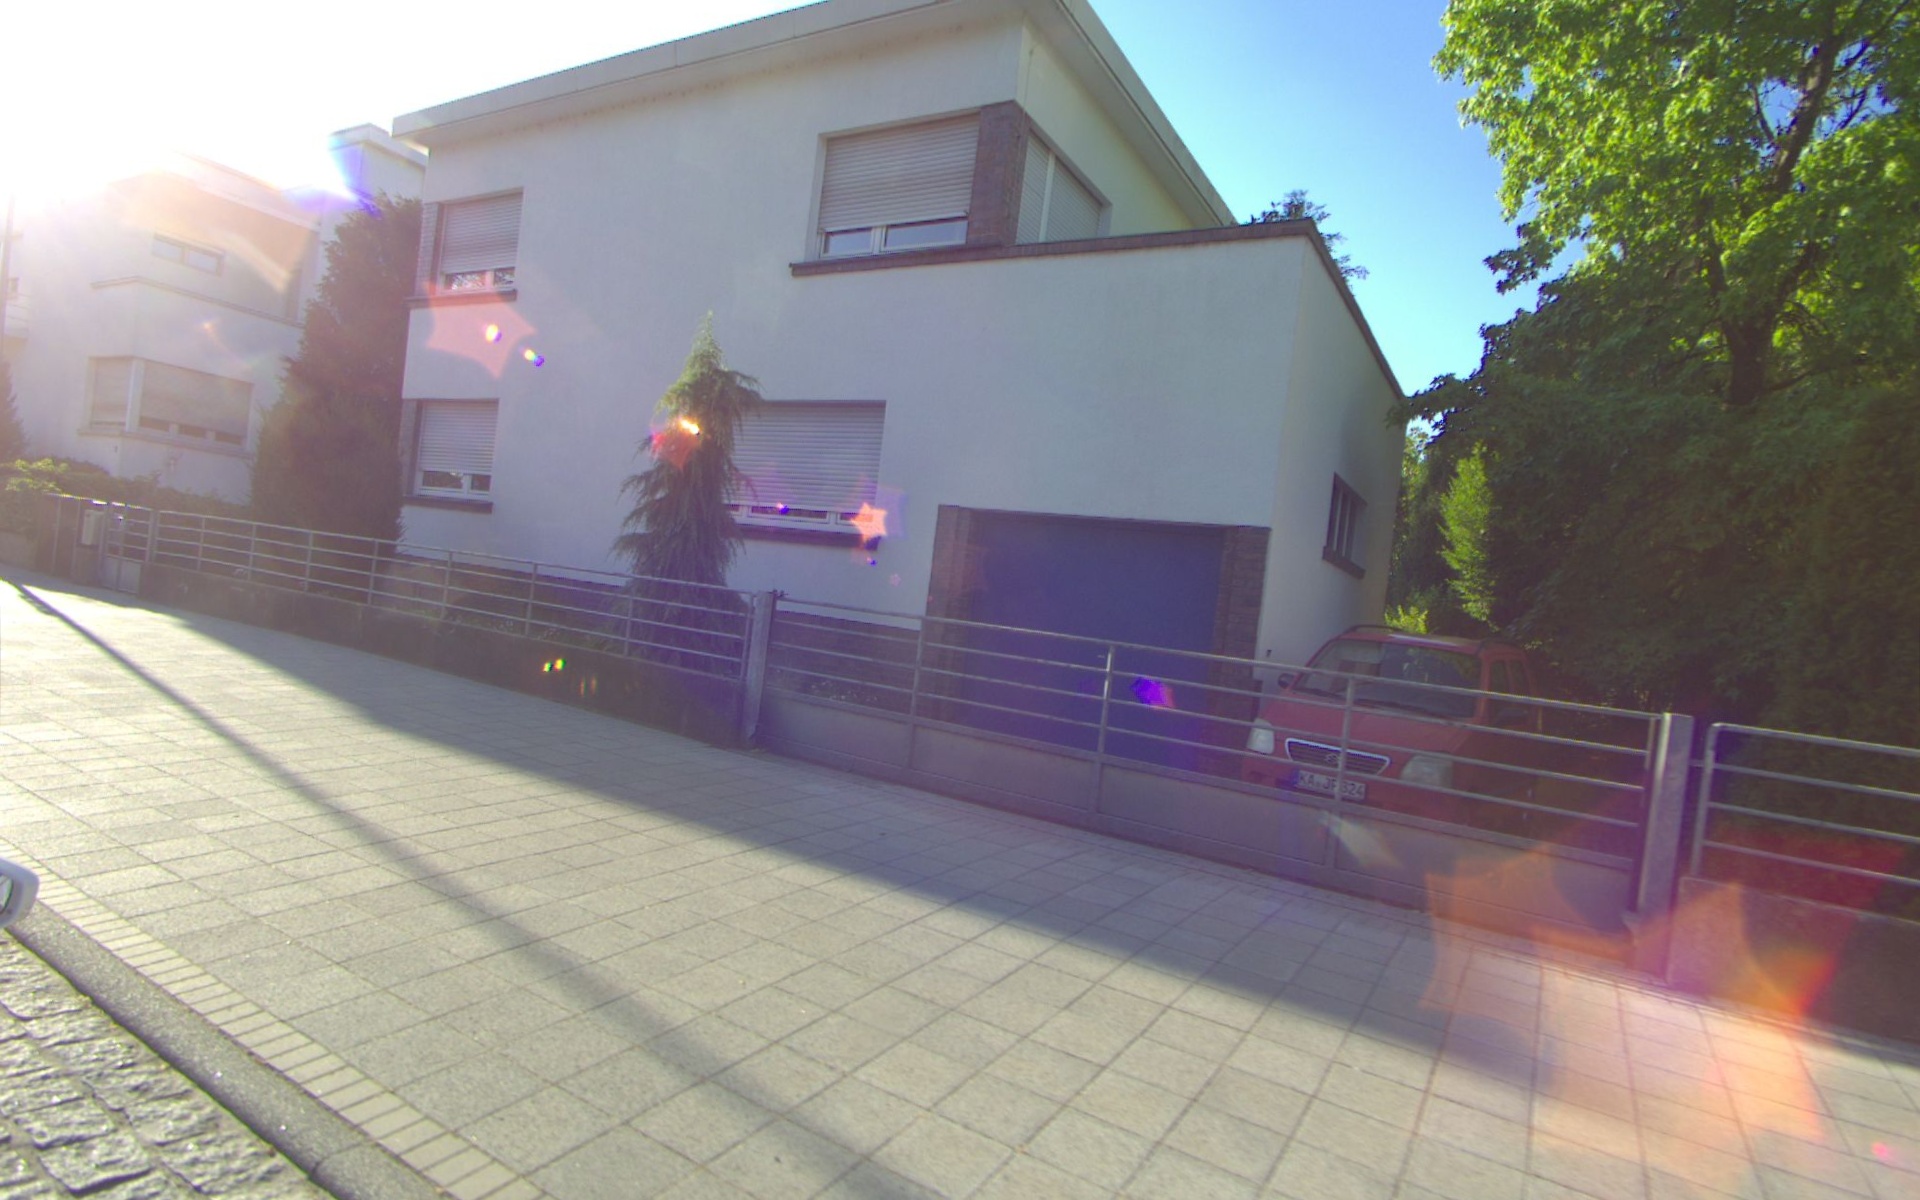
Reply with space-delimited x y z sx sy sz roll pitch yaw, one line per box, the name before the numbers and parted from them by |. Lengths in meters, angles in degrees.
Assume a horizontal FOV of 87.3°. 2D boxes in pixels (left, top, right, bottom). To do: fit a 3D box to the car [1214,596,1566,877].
car | 3.677 1.037 8.263 1.619 1.661 3.491 7 -1 39
